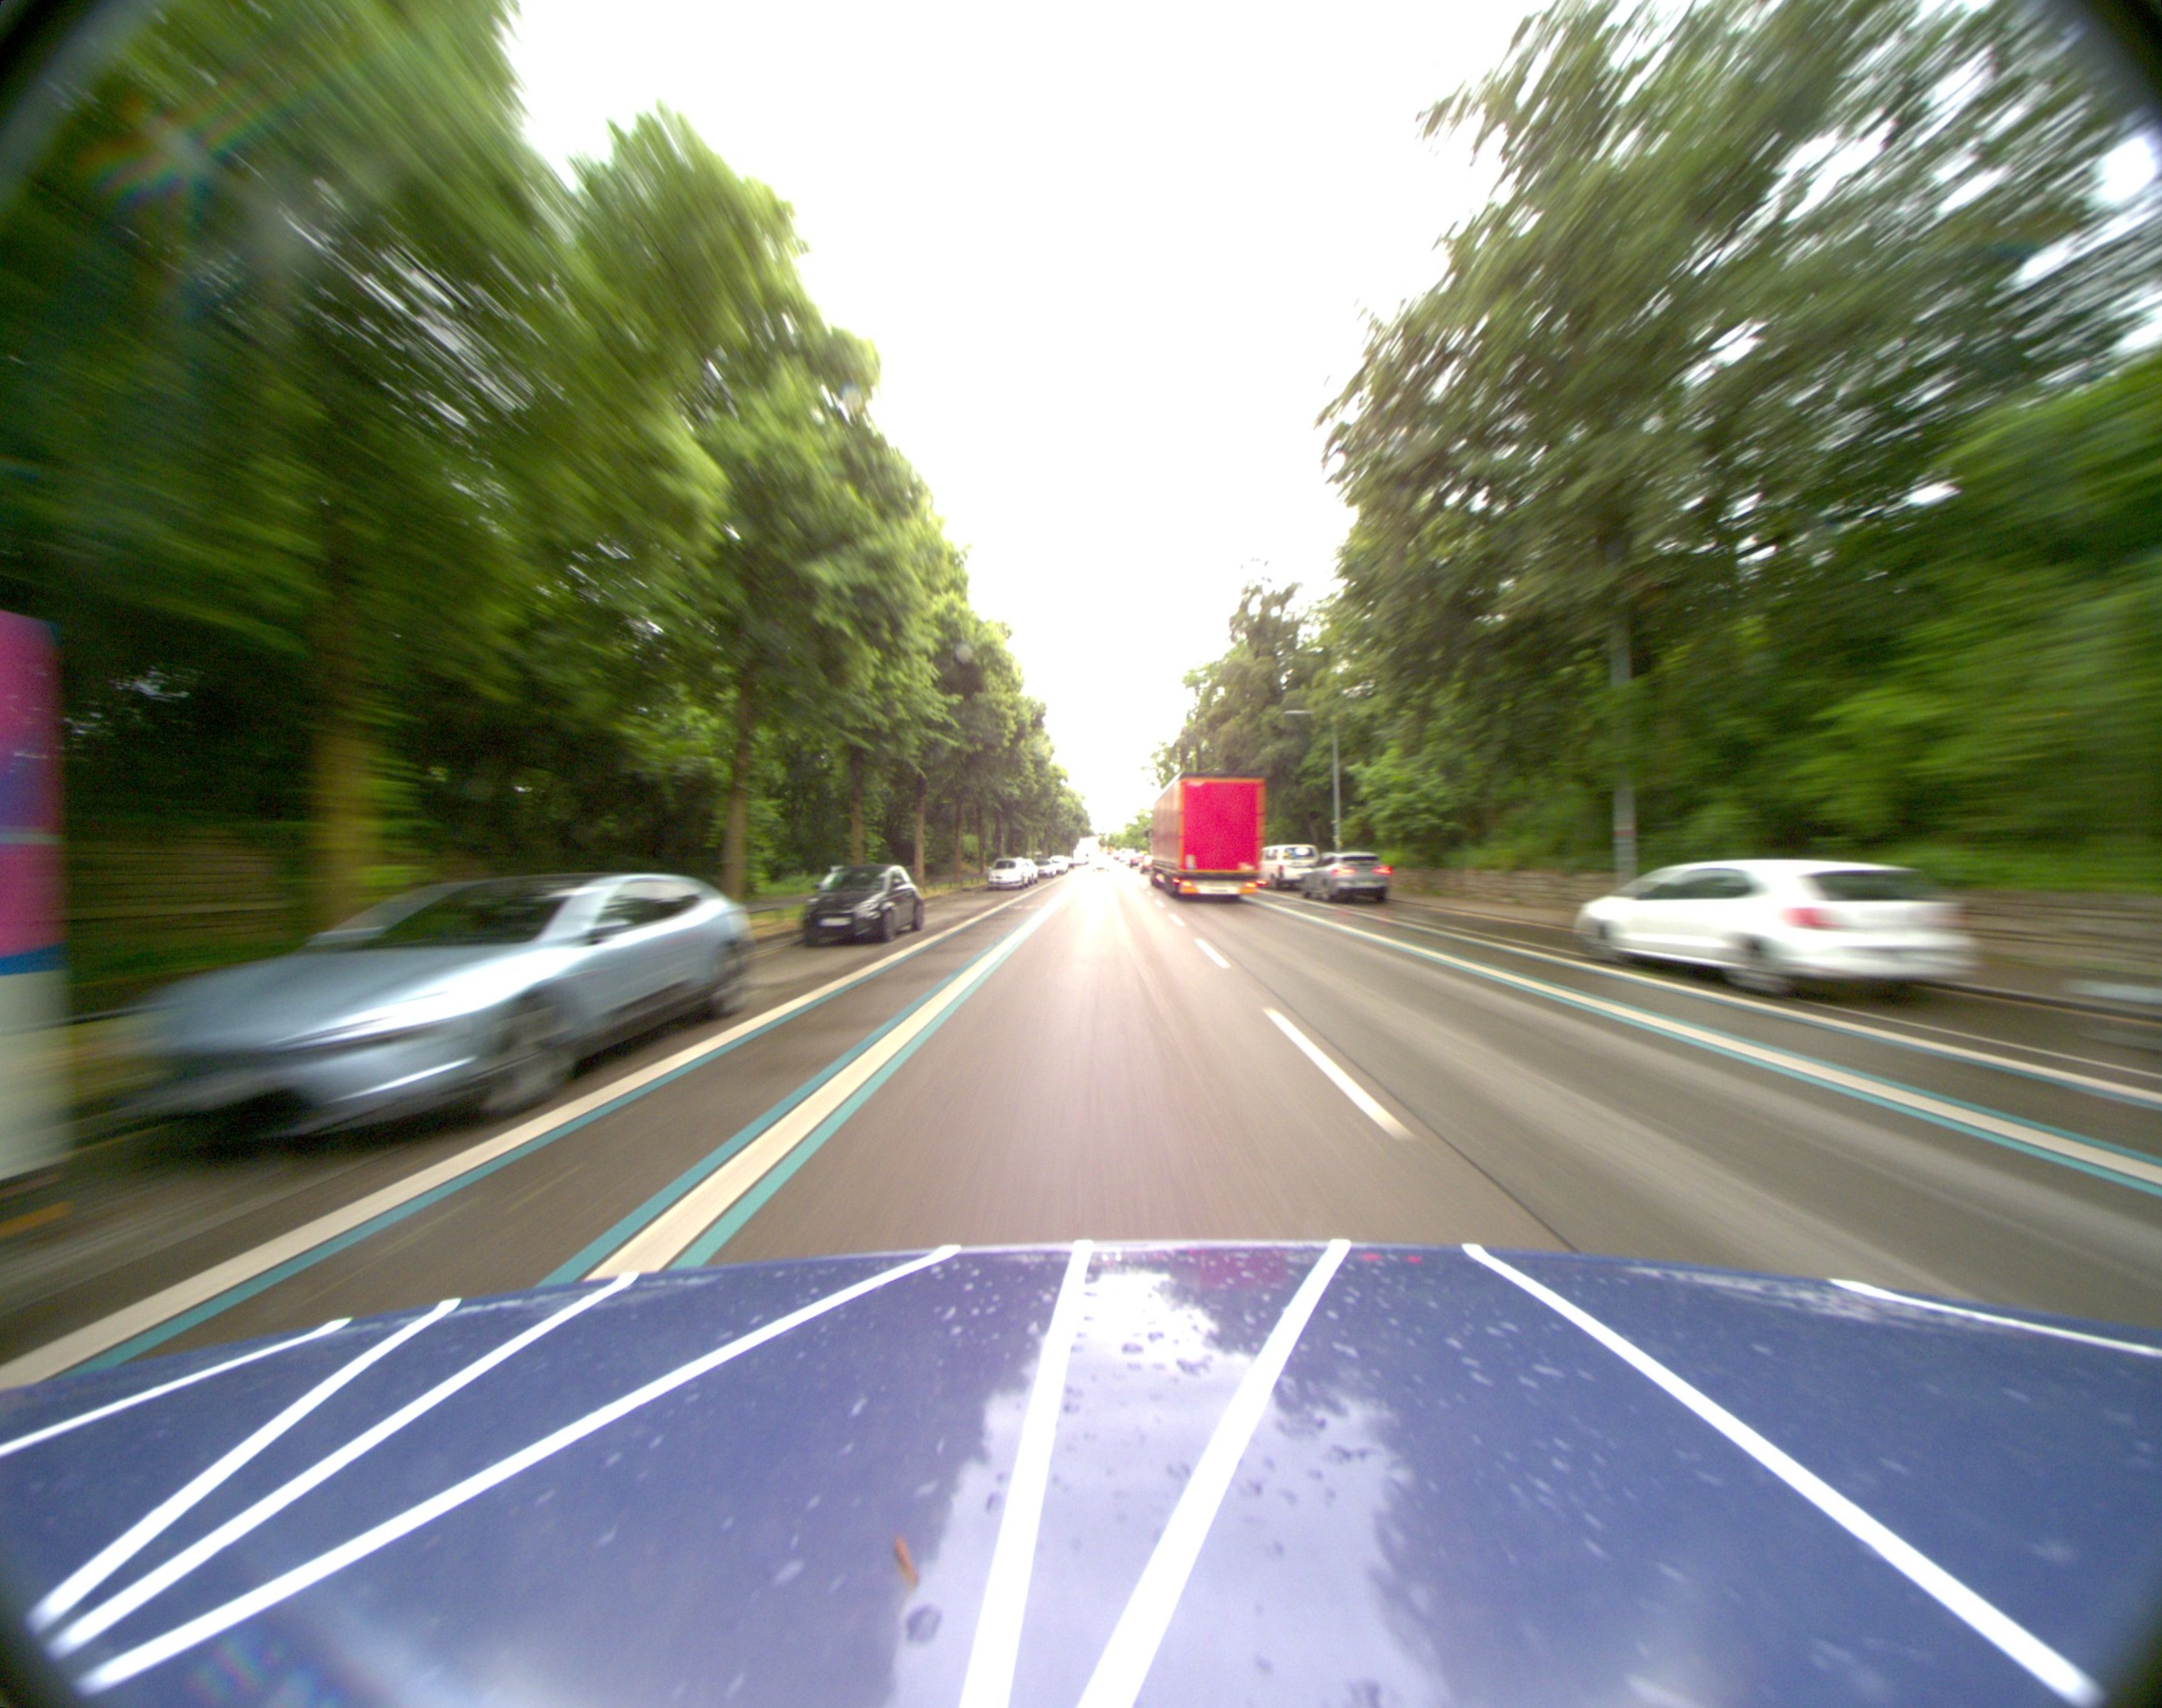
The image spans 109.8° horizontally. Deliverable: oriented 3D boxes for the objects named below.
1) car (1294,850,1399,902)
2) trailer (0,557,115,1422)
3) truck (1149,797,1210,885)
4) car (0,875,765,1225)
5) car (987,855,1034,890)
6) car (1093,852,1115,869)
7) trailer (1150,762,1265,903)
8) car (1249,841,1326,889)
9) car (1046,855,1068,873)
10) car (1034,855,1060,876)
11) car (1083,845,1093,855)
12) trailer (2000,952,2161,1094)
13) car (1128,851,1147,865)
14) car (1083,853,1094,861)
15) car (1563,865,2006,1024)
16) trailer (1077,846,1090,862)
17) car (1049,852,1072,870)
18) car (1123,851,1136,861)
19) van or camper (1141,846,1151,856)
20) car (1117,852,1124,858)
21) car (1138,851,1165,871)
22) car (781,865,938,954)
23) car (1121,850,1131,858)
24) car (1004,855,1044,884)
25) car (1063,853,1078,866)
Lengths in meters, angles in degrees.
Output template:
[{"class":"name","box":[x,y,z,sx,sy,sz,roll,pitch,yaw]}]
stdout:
[{"class":"car","box":[8.921,0.699,26.039,2.015,1.596,4.780,-1,0,1]},{"class":"trailer","box":[-4.478,0.453,0.671,1.957,2.742,4.007,-2,0,2]},{"class":"truck","box":[4.740,-0.613,37.237,2.523,4.023,4.917,1,1,3]},{"class":"car","box":[-4.521,1.037,6.149,1.904,1.538,4.755,-2,0,0]},{"class":"car","box":[-3.504,0.872,38.819,1.757,1.587,4.740,-2,0,2]},{"class":"car","box":[2.301,0.590,75.402,1.998,1.589,4.001,-2,0,2]},{"class":"trailer","box":[4.413,-0.687,29.404,2.694,4.234,12.770,1,0,2]},{"class":"car","box":[9.437,0.470,35.181,1.979,1.993,5.017,-2,0,-2]},{"class":"car","box":[-2.122,0.865,68.101,1.702,1.445,3.946,-3,0,2]},{"class":"car","box":[-2.576,0.867,58.085,1.702,1.445,4.097,-3,0,1]},{"class":"car","box":[1.635,-0.879,172.362,1.998,2.231,4.000,-2,1,2]},{"class":"trailer","box":[8.122,1.214,4.432,1.546,0.814,3.305,-1,0,1]},{"class":"car","box":[6.555,0.428,88.765,1.965,1.608,4.466,1,0,2]},{"class":"car","box":[1.427,0.497,141.219,1.804,1.455,4.000,-1,0,2]},{"class":"car","box":[8.082,0.908,9.355,1.793,1.473,3.982,-1,0,0]},{"class":"trailer","box":[0.328,-0.028,123.425,1.988,2.550,4.000,-2,0,-1]},{"class":"car","box":[-1.958,0.674,74.917,1.998,1.652,4.562,-2,0,2]},{"class":"car","box":[7.040,0.269,110.082,1.780,1.457,4.063,1,0,2]},{"class":"van or camper","box":[15.283,-0.703,179.176,2.165,2.437,4.437,-1,0,2]},{"class":"car","box":[10.990,0.201,211.837,2.043,1.639,4.478,-1,0,3]},{"class":"car","box":[5.747,0.544,62.129,1.920,1.448,4.621,-1,0,2]},{"class":"car","box":[-4.469,1.044,16.115,1.830,1.494,4.571,-1,0,2]},{"class":"car","box":[9.512,0.073,161.860,1.958,1.629,4.445,0,0,2]},{"class":"car","box":[-3.318,0.875,44.815,1.702,1.504,4.470,-3,0,4]},{"class":"car","box":[-1.253,0.670,94.472,1.700,1.468,3.998,-1,0,1]}]
